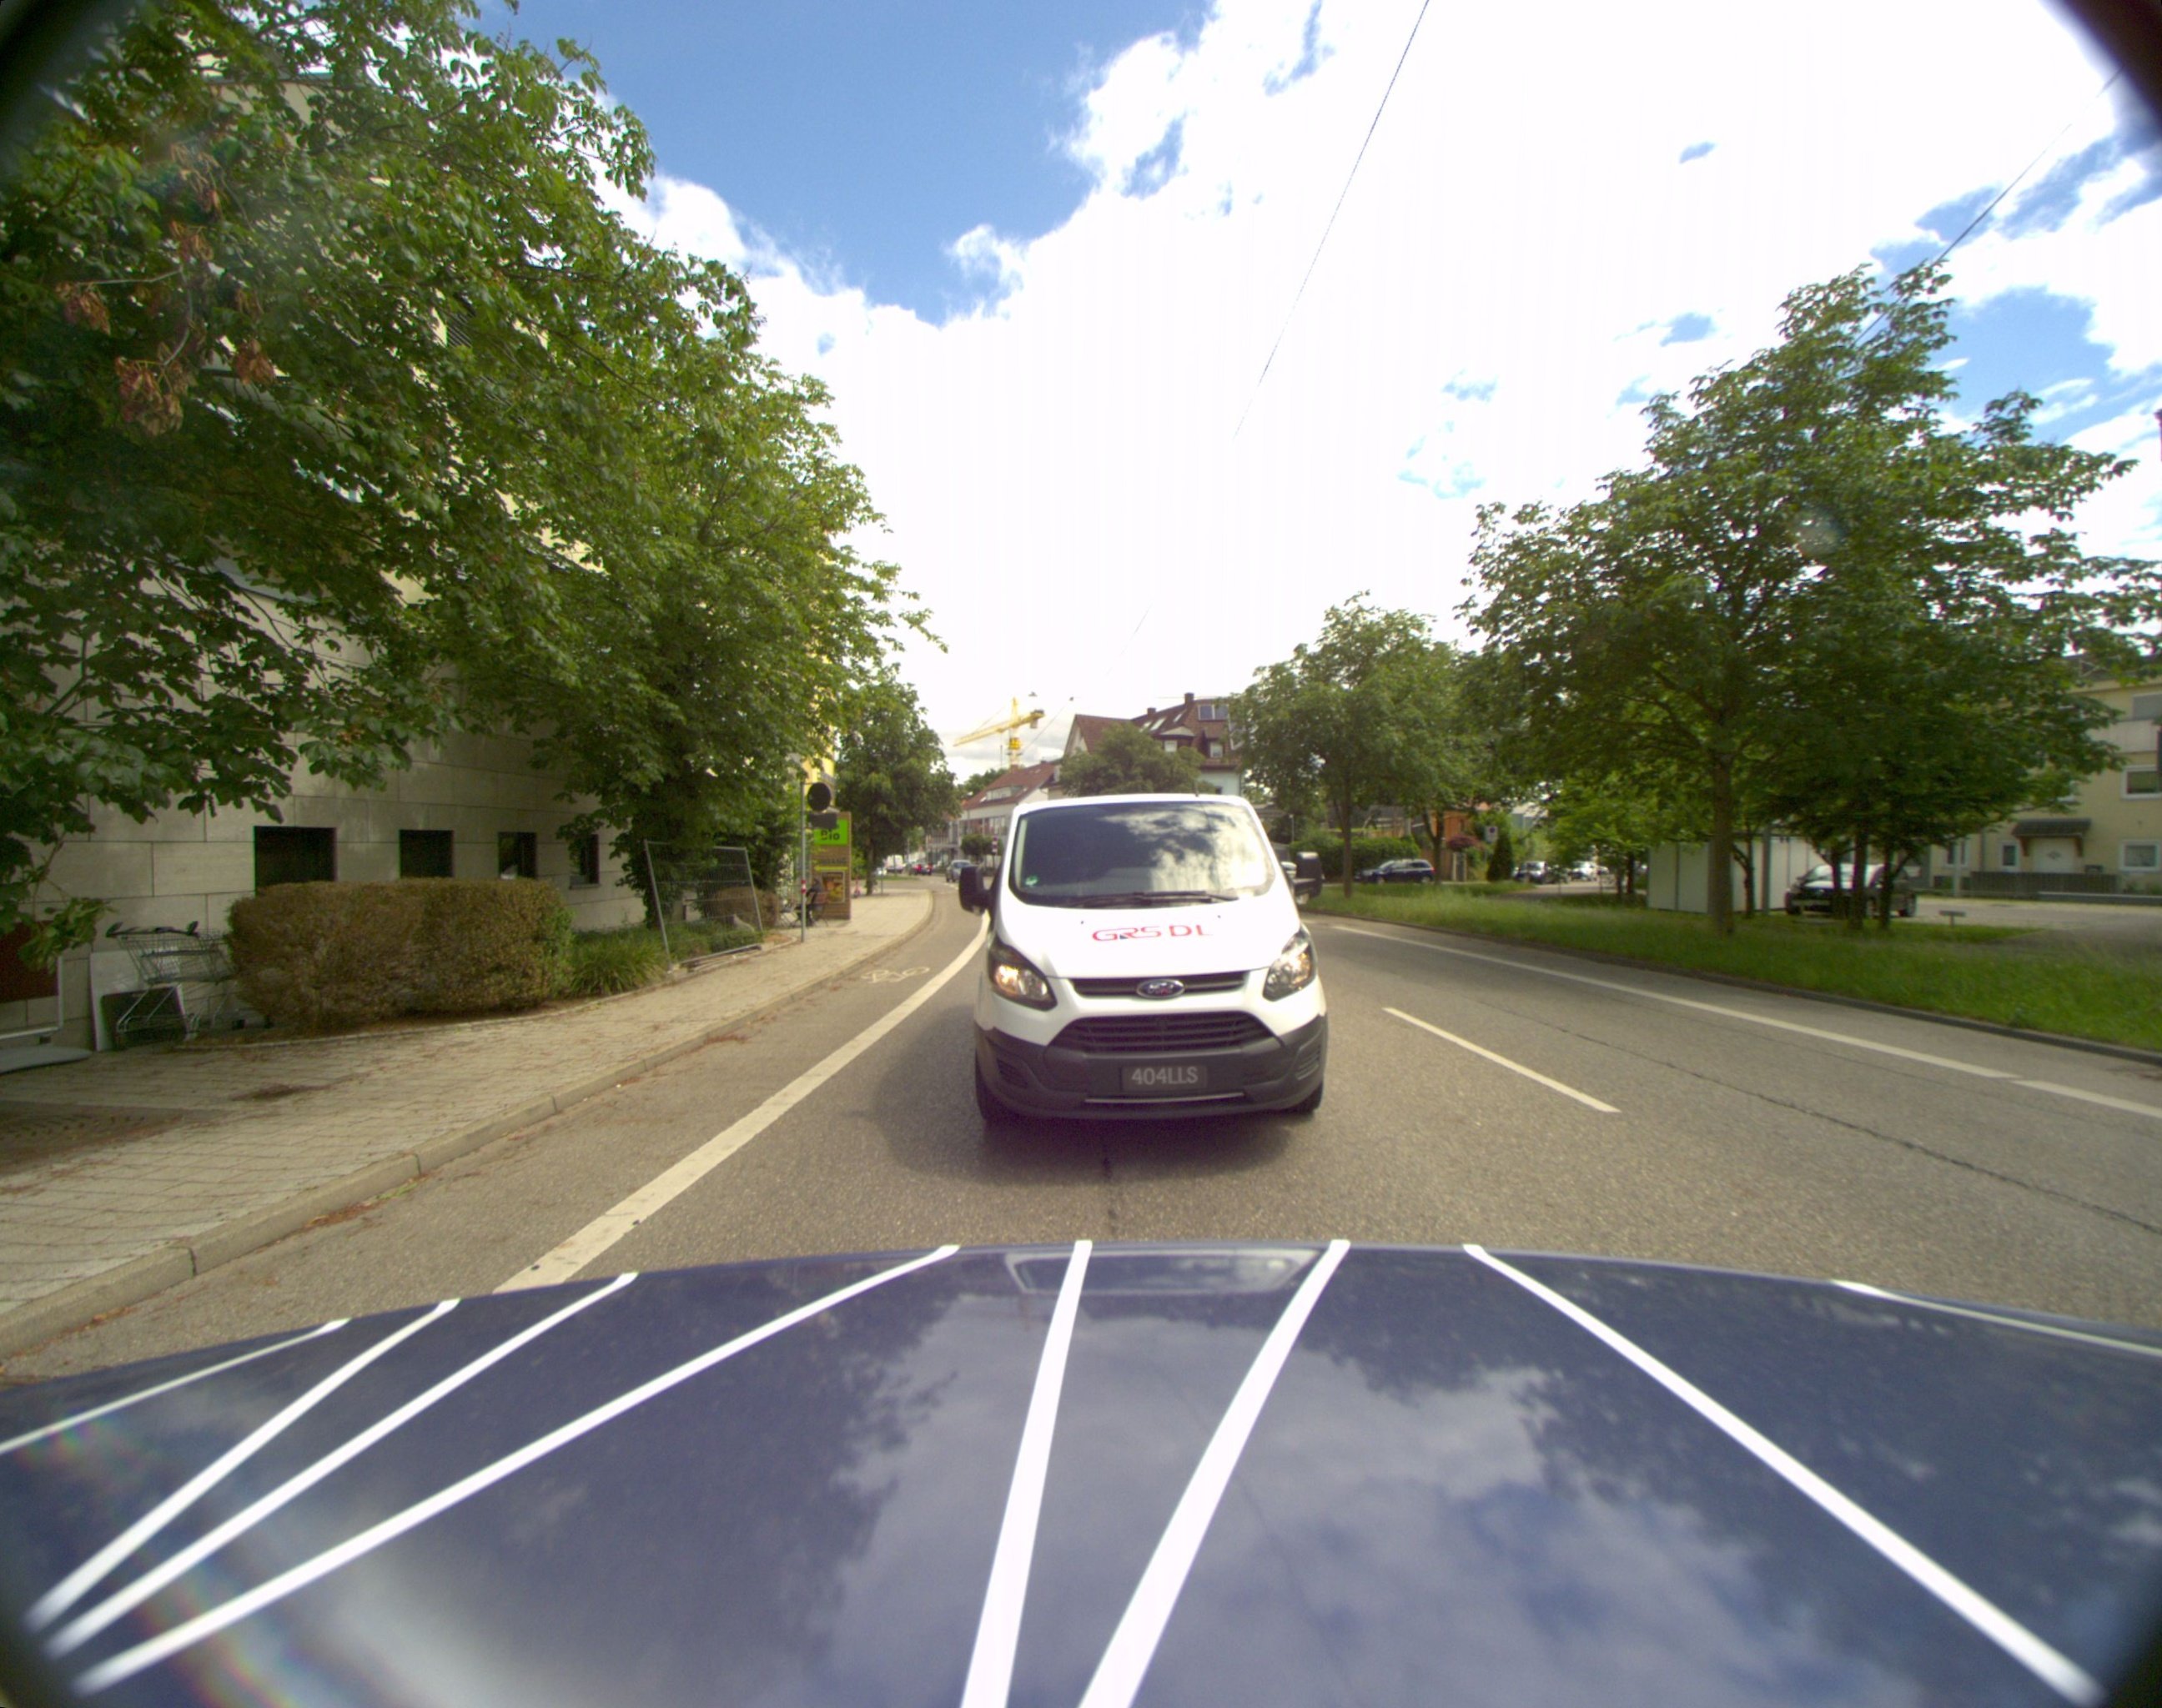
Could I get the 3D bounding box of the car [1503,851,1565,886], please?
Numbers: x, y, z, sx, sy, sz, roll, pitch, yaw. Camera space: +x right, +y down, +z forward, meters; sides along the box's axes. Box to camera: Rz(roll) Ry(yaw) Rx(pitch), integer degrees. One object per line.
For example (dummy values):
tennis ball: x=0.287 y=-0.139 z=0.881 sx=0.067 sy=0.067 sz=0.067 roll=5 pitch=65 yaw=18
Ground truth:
car: x=27.284 y=0.836 z=45.714 sx=4.008 sy=2.002 sz=1.976 roll=0 pitch=0 yaw=-40

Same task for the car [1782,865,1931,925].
car: x=20.686 y=1.024 z=20.248 sx=4.006 sy=1.411 sz=1.789 roll=0 pitch=0 yaw=-29

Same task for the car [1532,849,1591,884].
car: x=30.539 y=0.778 z=48.298 sx=4.007 sy=2.002 sz=1.995 roll=-3 pitch=1 yaw=-40

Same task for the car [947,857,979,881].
car: x=-8.219 y=0.985 z=52.691 sx=1.695 sy=1.477 sz=3.994 roll=-3 pitch=1 yaw=-16

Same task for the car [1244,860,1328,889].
car: x=10.903 y=1.065 z=40.437 sx=4.046 sy=1.314 sz=1.534 roll=-3 pitch=1 yaw=-13

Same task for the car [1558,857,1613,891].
car: x=33.832 y=1.281 z=50.881 sx=4.007 sy=2.002 sz=1.995 roll=-3 pitch=1 yaw=-40

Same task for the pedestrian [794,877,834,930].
pedestrian: x=-6.771 y=1.254 z=19.287 sx=0.731 sy=1.293 sz=0.754 roll=0 pitch=0 yaw=0

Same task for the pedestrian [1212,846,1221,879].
pedestrian: x=8.335 y=0.513 z=46.773 sx=0.425 sy=2.002 sz=0.363 roll=-2 pitch=1 yaw=1

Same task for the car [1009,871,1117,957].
car: x=-0.503 y=1.083 z=15.216 sx=1.841 sy=1.382 sz=3.998 roll=0 pitch=0 yaw=-6

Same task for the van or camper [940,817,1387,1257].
van or camper: x=0.403 y=0.837 z=6.005 sx=2.027 sy=2.002 sz=5.103 roll=0 pitch=0 yaw=1

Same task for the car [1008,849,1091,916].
car: x=-1.074 y=0.801 z=23.646 sx=1.854 sy=1.805 sz=3.995 roll=-3 pitch=1 yaw=-12

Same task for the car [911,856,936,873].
car: x=-17.277 y=1.094 z=83.178 sx=1.744 sy=1.840 sz=3.991 roll=0 pitch=0 yaw=-26

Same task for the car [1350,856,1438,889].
car: x=16.643 y=0.978 z=40.535 sx=3.976 sy=1.672 sz=1.717 roll=0 pitch=1 yaw=-3

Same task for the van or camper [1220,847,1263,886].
van or camper: x=9.346 y=0.687 z=44.626 sx=1.793 sy=2.077 sz=3.811 roll=-2 pitch=1 yaw=2

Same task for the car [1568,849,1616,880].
car: x=36.800 y=0.769 z=54.651 sx=4.007 sy=2.002 sz=1.893 roll=-3 pitch=1 yaw=-42

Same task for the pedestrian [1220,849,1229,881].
pedestrian: x=8.798 y=0.668 z=46.704 sx=0.383 sy=1.979 sz=0.443 roll=-3 pitch=1 yaw=0
